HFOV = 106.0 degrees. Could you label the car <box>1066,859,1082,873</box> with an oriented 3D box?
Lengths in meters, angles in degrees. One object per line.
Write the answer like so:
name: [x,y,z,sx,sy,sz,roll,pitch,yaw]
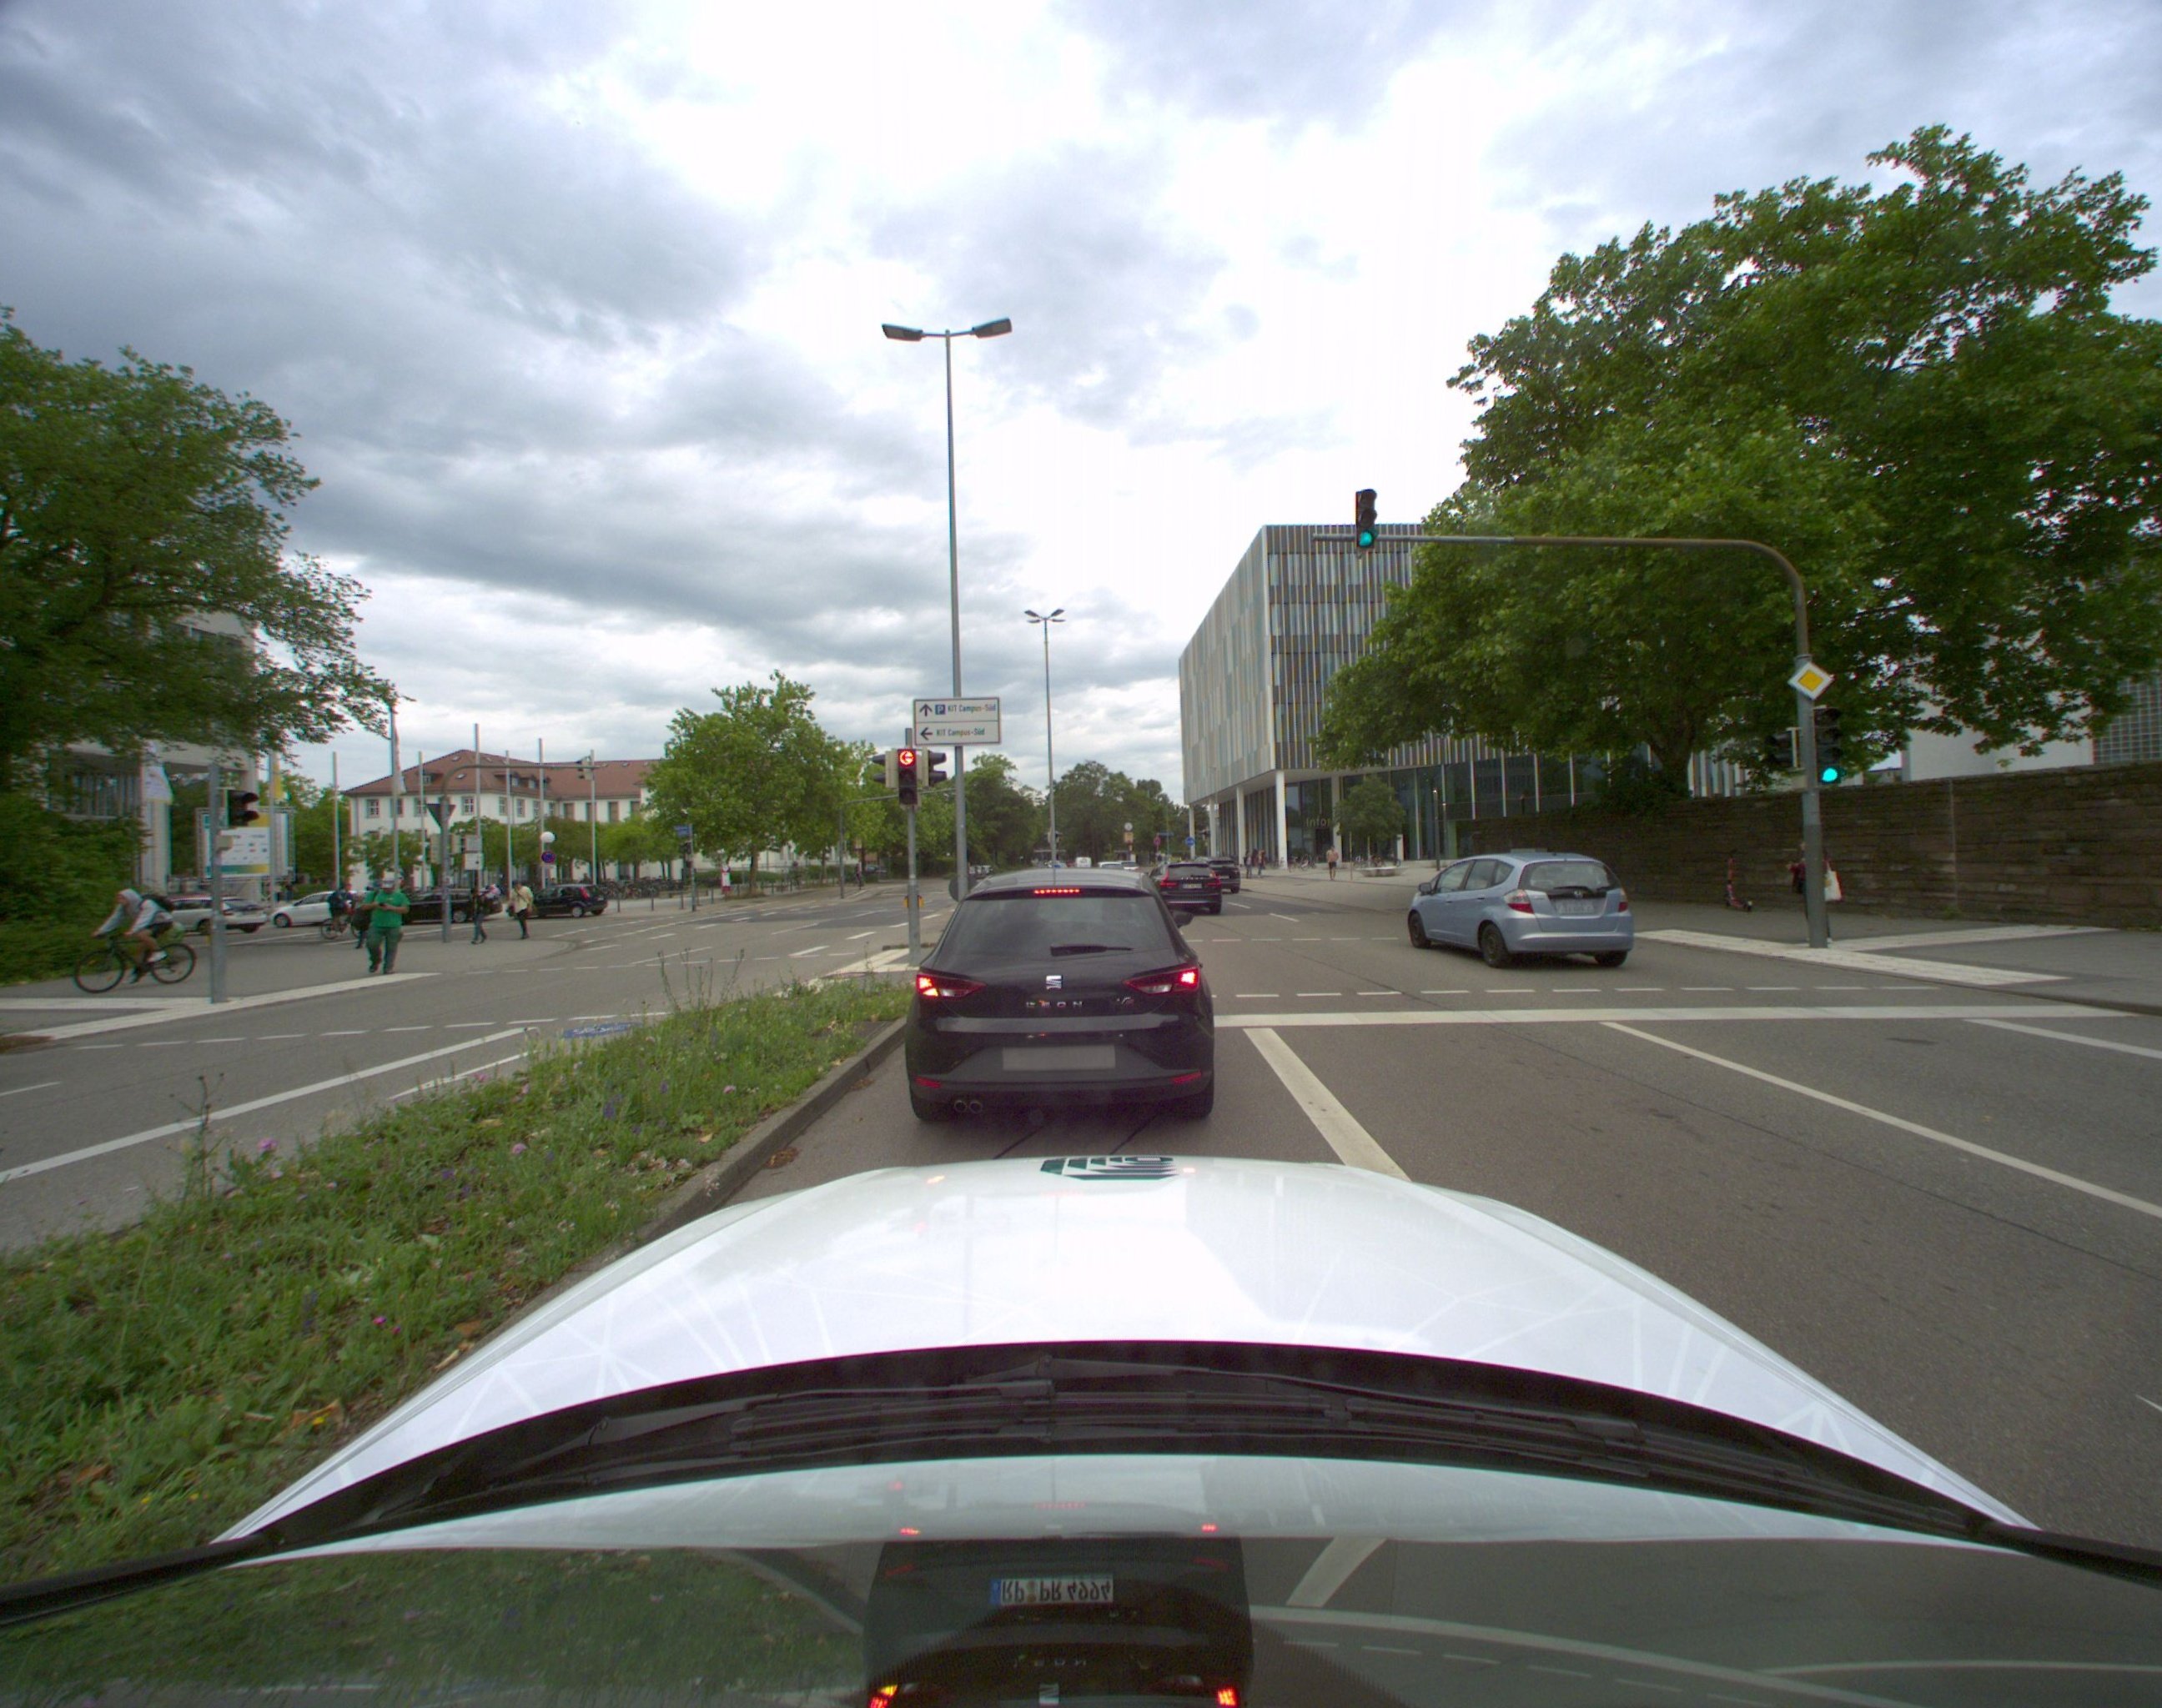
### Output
car: [-0.973,1.722,118.031,1.986,1.734,4.211,-3,0,2]

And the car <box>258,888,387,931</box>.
car: [-33.050,2.412,35.571,3.868,1.539,1.684,-2,2,-2]

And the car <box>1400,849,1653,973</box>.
car: [6.093,0.697,11.656,1.660,1.466,3.661,-1,0,1]

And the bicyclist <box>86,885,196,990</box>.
bicyclist: [-15.610,1.363,13.544,0.662,1.635,0.963,-1,0,7]

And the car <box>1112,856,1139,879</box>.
car: [3.197,0.962,57.902,1.817,1.551,4.531,0,-1,4]

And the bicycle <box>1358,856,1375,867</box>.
bicycle: [21.142,0.530,60.263,1.535,0.716,0.513,-4,0,-42]

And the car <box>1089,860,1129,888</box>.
car: [1.508,1.066,44.878,1.778,1.463,3.864,-1,0,-5]

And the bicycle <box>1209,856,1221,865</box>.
bicycle: [15.087,0.743,91.663,1.379,0.942,0.489,-3,0,8]

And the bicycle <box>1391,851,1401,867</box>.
bicycle: [22.535,0.320,58.303,0.616,1.056,1.959,-3,0,21]

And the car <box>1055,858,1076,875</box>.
car: [-1.490,1.159,76.721,1.719,1.414,4.239,-1,0,-4]

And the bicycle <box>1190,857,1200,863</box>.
bicycle: [14.951,0.761,106.701,1.239,0.823,0.479,0,-1,-21]

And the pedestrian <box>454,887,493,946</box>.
pedestrian: [-16.718,1.716,22.418,0.796,1.558,0.691,1,-5,-42]

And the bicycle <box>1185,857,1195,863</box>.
bicycle: [14.547,0.808,108.813,1.262,0.848,0.479,1,-2,-21]

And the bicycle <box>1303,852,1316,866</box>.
bicycle: [18.792,0.436,66.906,0.614,1.045,1.716,-3,0,28]

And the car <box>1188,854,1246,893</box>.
car: [6.088,0.826,36.845,1.901,1.624,4.491,-1,0,1]

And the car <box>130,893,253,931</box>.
car: [-38.178,2.481,35.016,3.341,1.479,1.559,-1,0,-5]

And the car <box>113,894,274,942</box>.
car: [-33.800,2.417,31.090,4.199,1.431,1.710,-4,0,0]

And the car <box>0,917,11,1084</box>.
car: [-10.127,1.300,4.848,1.707,1.418,4.296,-3,0,2]

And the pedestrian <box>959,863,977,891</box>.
pedestrian: [-6.478,1.318,46.753,0.873,1.586,0.542,-3,0,-5]

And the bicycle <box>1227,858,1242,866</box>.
bicycle: [15.834,0.820,83.994,1.368,0.705,0.416,-4,0,4]

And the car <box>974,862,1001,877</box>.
car: [-11.146,1.833,96.925,1.746,1.587,4.016,-3,0,15]

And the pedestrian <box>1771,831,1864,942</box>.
pedestrian: [10.948,0.471,12.133,0.657,1.561,0.636,-6,0,1]

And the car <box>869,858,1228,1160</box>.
car: [-0.030,0.768,5.866,1.745,1.432,3.773,-1,0,4]

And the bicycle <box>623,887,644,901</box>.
bicycle: [-30.900,2.763,56.196,1.211,0.880,0.262,-4,0,-22]

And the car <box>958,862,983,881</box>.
car: [-11.693,1.834,86.751,1.899,1.717,4.002,-3,0,2]

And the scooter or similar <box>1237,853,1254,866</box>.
scooter or similar: [15.791,0.547,78.110,1.682,1.106,0.494,-4,0,-30]

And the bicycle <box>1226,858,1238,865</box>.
bicycle: [16.208,0.805,87.358,1.266,0.705,0.486,-3,0,8]

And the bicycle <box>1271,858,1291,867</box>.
bicycle: [17.057,0.724,69.438,1.475,0.748,0.566,-4,0,-2]

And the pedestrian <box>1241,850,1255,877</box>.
pedestrian: [10.196,0.563,49.754,0.684,1.640,0.633,-1,0,1]

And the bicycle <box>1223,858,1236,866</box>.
bicycle: [15.629,0.867,85.797,1.366,0.705,0.490,-3,0,10]

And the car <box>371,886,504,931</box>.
car: [-27.553,2.304,35.006,4.059,1.452,1.615,-3,5,-16]

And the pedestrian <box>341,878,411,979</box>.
pedestrian: [-12.929,1.327,14.939,0.948,1.759,0.865,0,-2,-42]

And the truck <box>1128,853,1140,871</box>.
truck: [6.948,1.005,106.597,1.313,2.243,3.403,-3,0,2]

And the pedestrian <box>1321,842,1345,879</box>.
pedestrian: [12.474,0.308,40.346,0.844,1.765,0.768,-3,0,1]

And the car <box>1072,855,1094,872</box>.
car: [0.185,1.076,93.417,1.965,1.972,4.332,0,0,-7]

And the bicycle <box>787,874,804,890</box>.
bicycle: [-21.236,2.053,60.570,0.606,1.060,2.041,-3,0,-4]

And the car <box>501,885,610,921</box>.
car: [-23.118,2.128,35.927,3.649,1.223,1.562,-1,7,-5]

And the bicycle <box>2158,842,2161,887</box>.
bicycle: [13.553,0.407,8.923,0.801,1.174,1.952,-5,0,-3]

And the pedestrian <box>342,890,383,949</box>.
pedestrian: [-19.321,1.773,21.917,0.572,1.527,0.842,-2,-5,-22]

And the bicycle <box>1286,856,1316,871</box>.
bicycle: [15.107,0.626,55.995,1.892,0.898,0.693,-4,0,-20]

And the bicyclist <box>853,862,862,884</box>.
bicyclist: [-16.323,1.387,59.485,0.489,1.624,0.588,0,1,1]

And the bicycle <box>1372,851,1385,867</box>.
bicycle: [21.659,0.380,59.249,0.802,1.056,1.959,-3,0,21]

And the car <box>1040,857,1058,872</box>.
car: [-3.792,1.208,95.661,1.728,1.603,4.095,-1,0,-7]

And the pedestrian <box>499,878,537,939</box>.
pedestrian: [-16.860,1.639,24.393,0.845,1.740,0.823,-1,-5,-29]

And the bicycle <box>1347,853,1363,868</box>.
bicycle: [20.483,0.473,60.845,0.688,0.946,1.997,-3,0,32]

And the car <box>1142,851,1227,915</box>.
car: [2.859,0.758,23.381,1.877,1.600,4.447,-2,0,0]

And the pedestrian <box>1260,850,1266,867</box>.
pedestrian: [15.315,0.362,68.525,0.469,1.361,0.447,-3,0,12]

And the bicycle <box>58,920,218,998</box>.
bicycle: [-15.609,1.707,13.541,0.662,1.062,1.623,-1,0,7]

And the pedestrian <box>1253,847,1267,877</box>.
pedestrian: [10.943,0.504,49.765,0.684,1.781,0.677,-2,0,1]

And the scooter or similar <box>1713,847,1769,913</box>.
scooter or similar: [13.089,0.486,16.182,0.428,1.179,1.714,-4,0,26]

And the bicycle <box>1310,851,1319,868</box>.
bicycle: [18.404,0.403,64.121,0.522,1.253,1.674,-3,0,20]

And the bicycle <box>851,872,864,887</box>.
bicycle: [-16.324,1.830,59.497,0.486,1.005,1.590,-1,1,2]

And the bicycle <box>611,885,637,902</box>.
bicycle: [-31.084,2.698,55.433,1.405,1.052,0.585,-4,0,-19]
